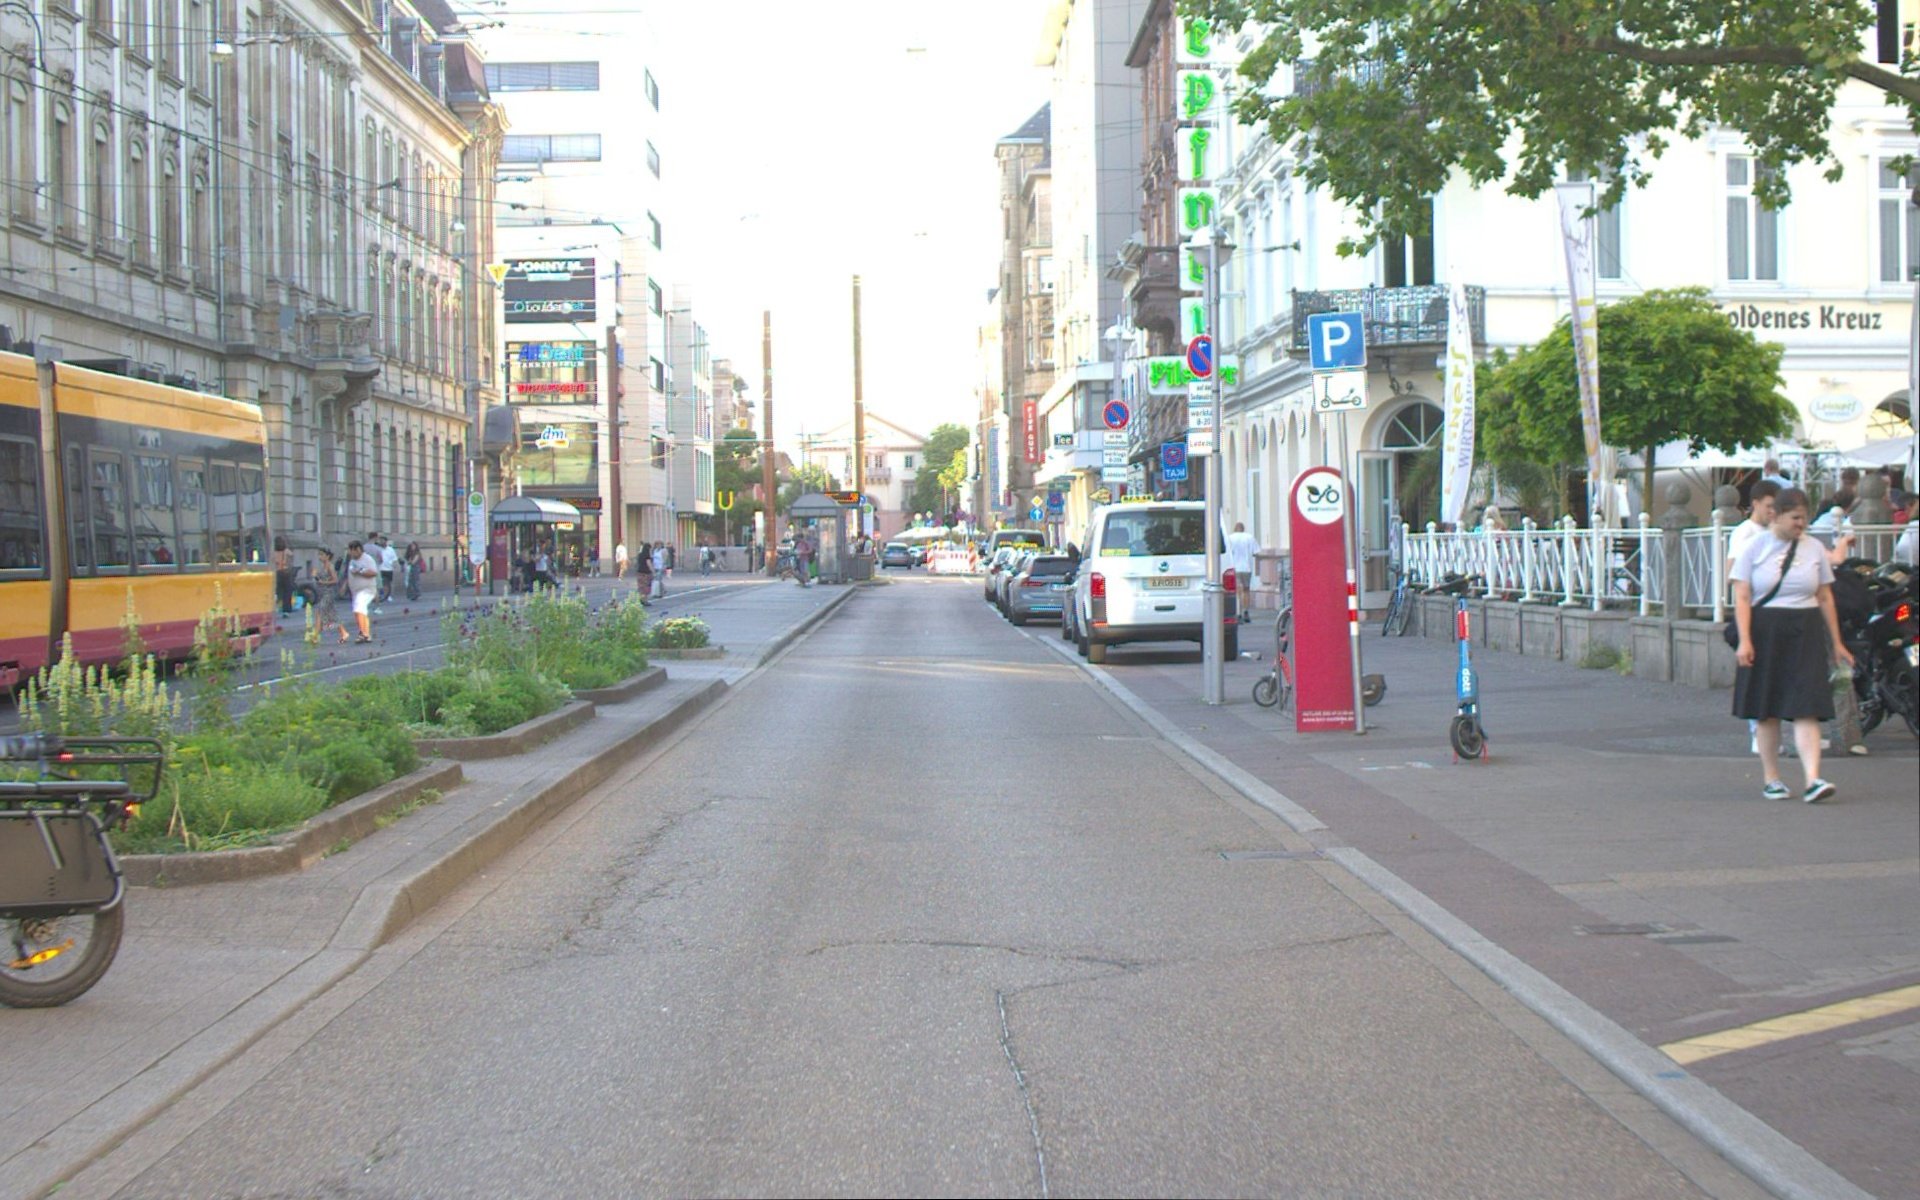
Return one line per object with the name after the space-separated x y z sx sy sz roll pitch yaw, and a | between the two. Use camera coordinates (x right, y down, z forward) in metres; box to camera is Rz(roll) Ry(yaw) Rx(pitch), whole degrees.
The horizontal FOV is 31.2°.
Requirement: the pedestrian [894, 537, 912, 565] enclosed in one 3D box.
-3.650 -3.135 218.948 0.782 1.728 0.811 -2 -1 40 | pedestrian

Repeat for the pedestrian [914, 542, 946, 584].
-1.398 -1.696 158.488 1.229 1.922 1.022 -1 1 -16 | pedestrian

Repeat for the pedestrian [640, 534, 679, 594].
-8.582 -1.028 98.117 1.049 1.680 0.908 0 1 -1 | pedestrian

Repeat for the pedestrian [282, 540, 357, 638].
-10.032 -0.166 53.865 0.758 1.509 0.861 -2 -1 43 | pedestrian

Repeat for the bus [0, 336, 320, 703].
-9.904 -0.780 39.774 2.822 3.600 11.823 -1 0 0 | bus

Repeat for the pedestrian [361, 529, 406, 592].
-15.539 -1.058 92.643 1.048 1.680 0.908 -1 1 -19 | pedestrian

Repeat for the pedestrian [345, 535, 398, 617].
-12.302 -0.507 71.881 1.048 1.680 0.908 -1 -1 -10 | pedestrian

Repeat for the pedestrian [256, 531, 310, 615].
-13.956 -0.553 70.877 1.048 1.680 0.908 -1 -1 -10 | pedestrian

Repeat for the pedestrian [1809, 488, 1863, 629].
8.592 -0.400 33.723 0.474 1.359 0.539 -1 -1 14 | pedestrian

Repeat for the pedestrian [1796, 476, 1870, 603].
11.444 -0.785 45.095 0.757 1.638 0.659 -1 -1 -1 | pedestrian

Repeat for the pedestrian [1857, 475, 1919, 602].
12.278 -0.805 45.195 0.757 1.638 0.659 -1 -1 -2 | pedestrian

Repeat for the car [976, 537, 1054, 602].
1.489 -0.811 94.364 1.993 1.661 4.421 -1 -1 -1 | car

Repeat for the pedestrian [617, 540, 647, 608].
-7.997 -0.637 83.852 0.689 1.630 0.581 0 1 -8 | pedestrian

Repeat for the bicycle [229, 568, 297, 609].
-16.720 -0.279 82.415 1.582 0.946 0.359 -1 -1 -12 | bicycle

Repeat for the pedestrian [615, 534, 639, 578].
-14.751 -1.961 152.104 0.905 1.922 0.851 -1 1 -17 | pedestrian

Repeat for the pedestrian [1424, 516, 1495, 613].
6.936 -0.488 47.738 0.822 1.301 0.870 -1 -1 -1 | pedestrian

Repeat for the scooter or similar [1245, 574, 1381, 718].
3.100 0.403 30.196 1.125 1.211 0.300 -2 2 1 | scooter or similar

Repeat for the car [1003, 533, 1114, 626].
1.920 -0.414 68.281 1.993 1.755 4.421 -1 0 -1 | car

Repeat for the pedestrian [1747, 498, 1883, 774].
5.398 0.227 21.731 0.678 1.711 0.654 -1 -1 2 | pedestrian

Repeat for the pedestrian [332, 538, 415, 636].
-9.136 -0.193 53.560 0.718 1.509 1.035 -1 0 43 | pedestrian

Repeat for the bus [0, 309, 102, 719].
-9.857 -0.732 29.692 2.822 3.612 8.289 -1 1 0 | bus

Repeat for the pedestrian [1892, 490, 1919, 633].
8.738 -0.346 31.261 0.474 1.280 0.539 -1 -1 14 | pedestrian

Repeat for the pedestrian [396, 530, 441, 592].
-14.916 -1.079 94.629 1.048 1.680 0.908 -1 1 -19 | pedestrian

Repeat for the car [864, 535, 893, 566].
-5.229 -3.157 220.262 1.760 1.821 3.570 -1 -1 -1 | car

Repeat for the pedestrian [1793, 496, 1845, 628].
8.581 -0.370 34.345 0.474 1.300 0.539 -1 -1 14 | pedestrian

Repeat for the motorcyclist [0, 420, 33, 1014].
-3.507 0.368 10.706 1.001 1.807 0.960 -1 -1 -27 | motorcyclist

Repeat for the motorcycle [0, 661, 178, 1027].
-3.522 0.768 10.669 2.043 1.120 0.568 -1 -1 -27 | motorcycle

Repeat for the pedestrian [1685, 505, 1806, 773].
5.115 0.255 22.422 0.614 1.711 0.662 -1 -1 1 | pedestrian

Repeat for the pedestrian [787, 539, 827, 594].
-4.767 -1.027 107.093 1.049 1.680 0.908 -1 -1 11 | pedestrian

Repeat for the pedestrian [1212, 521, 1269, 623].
4.880 -0.480 59.802 0.786 1.745 0.895 -1 -1 -7 | pedestrian

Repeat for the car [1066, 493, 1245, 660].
2.414 -0.307 43.496 1.915 1.975 4.421 -1 1 -1 | car

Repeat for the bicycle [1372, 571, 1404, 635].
6.133 0.045 49.265 0.250 0.899 1.374 -1 -1 -1 | bicycle

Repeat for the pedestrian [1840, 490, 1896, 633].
8.578 -0.356 32.496 0.474 1.325 0.539 -1 -1 14 | pedestrian

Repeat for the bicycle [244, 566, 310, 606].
-16.718 -0.339 84.148 1.582 0.945 0.359 -1 0 -12 | bicycle

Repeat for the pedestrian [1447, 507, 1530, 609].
6.952 -0.541 45.268 0.902 1.301 0.967 -1 -1 -1 | pedestrian

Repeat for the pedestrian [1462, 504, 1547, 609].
6.995 -0.552 44.204 0.902 1.309 0.967 -1 -1 -1 | pedestrian

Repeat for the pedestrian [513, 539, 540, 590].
-13.636 -1.111 108.142 0.777 1.575 0.679 -1 1 -12 | pedestrian

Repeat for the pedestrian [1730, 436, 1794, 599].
11.457 -1.175 49.116 0.612 2.296 0.581 -1 -1 -22 | pedestrian

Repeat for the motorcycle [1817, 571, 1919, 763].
6.017 0.403 22.151 0.455 1.154 2.031 0 1 -1 | motorcycle

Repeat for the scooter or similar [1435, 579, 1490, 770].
3.320 0.477 22.749 0.315 1.217 1.272 0 1 6 | scooter or similar

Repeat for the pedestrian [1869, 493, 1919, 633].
8.693 -0.339 31.886 0.474 1.280 0.539 -1 -1 14 | pedestrian

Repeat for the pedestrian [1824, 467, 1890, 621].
9.236 -0.569 35.413 0.619 1.566 0.630 -1 -1 14 | pedestrian

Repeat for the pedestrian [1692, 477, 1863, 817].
4.452 0.247 18.770 0.714 1.797 0.824 -2 0 2 | pedestrian
